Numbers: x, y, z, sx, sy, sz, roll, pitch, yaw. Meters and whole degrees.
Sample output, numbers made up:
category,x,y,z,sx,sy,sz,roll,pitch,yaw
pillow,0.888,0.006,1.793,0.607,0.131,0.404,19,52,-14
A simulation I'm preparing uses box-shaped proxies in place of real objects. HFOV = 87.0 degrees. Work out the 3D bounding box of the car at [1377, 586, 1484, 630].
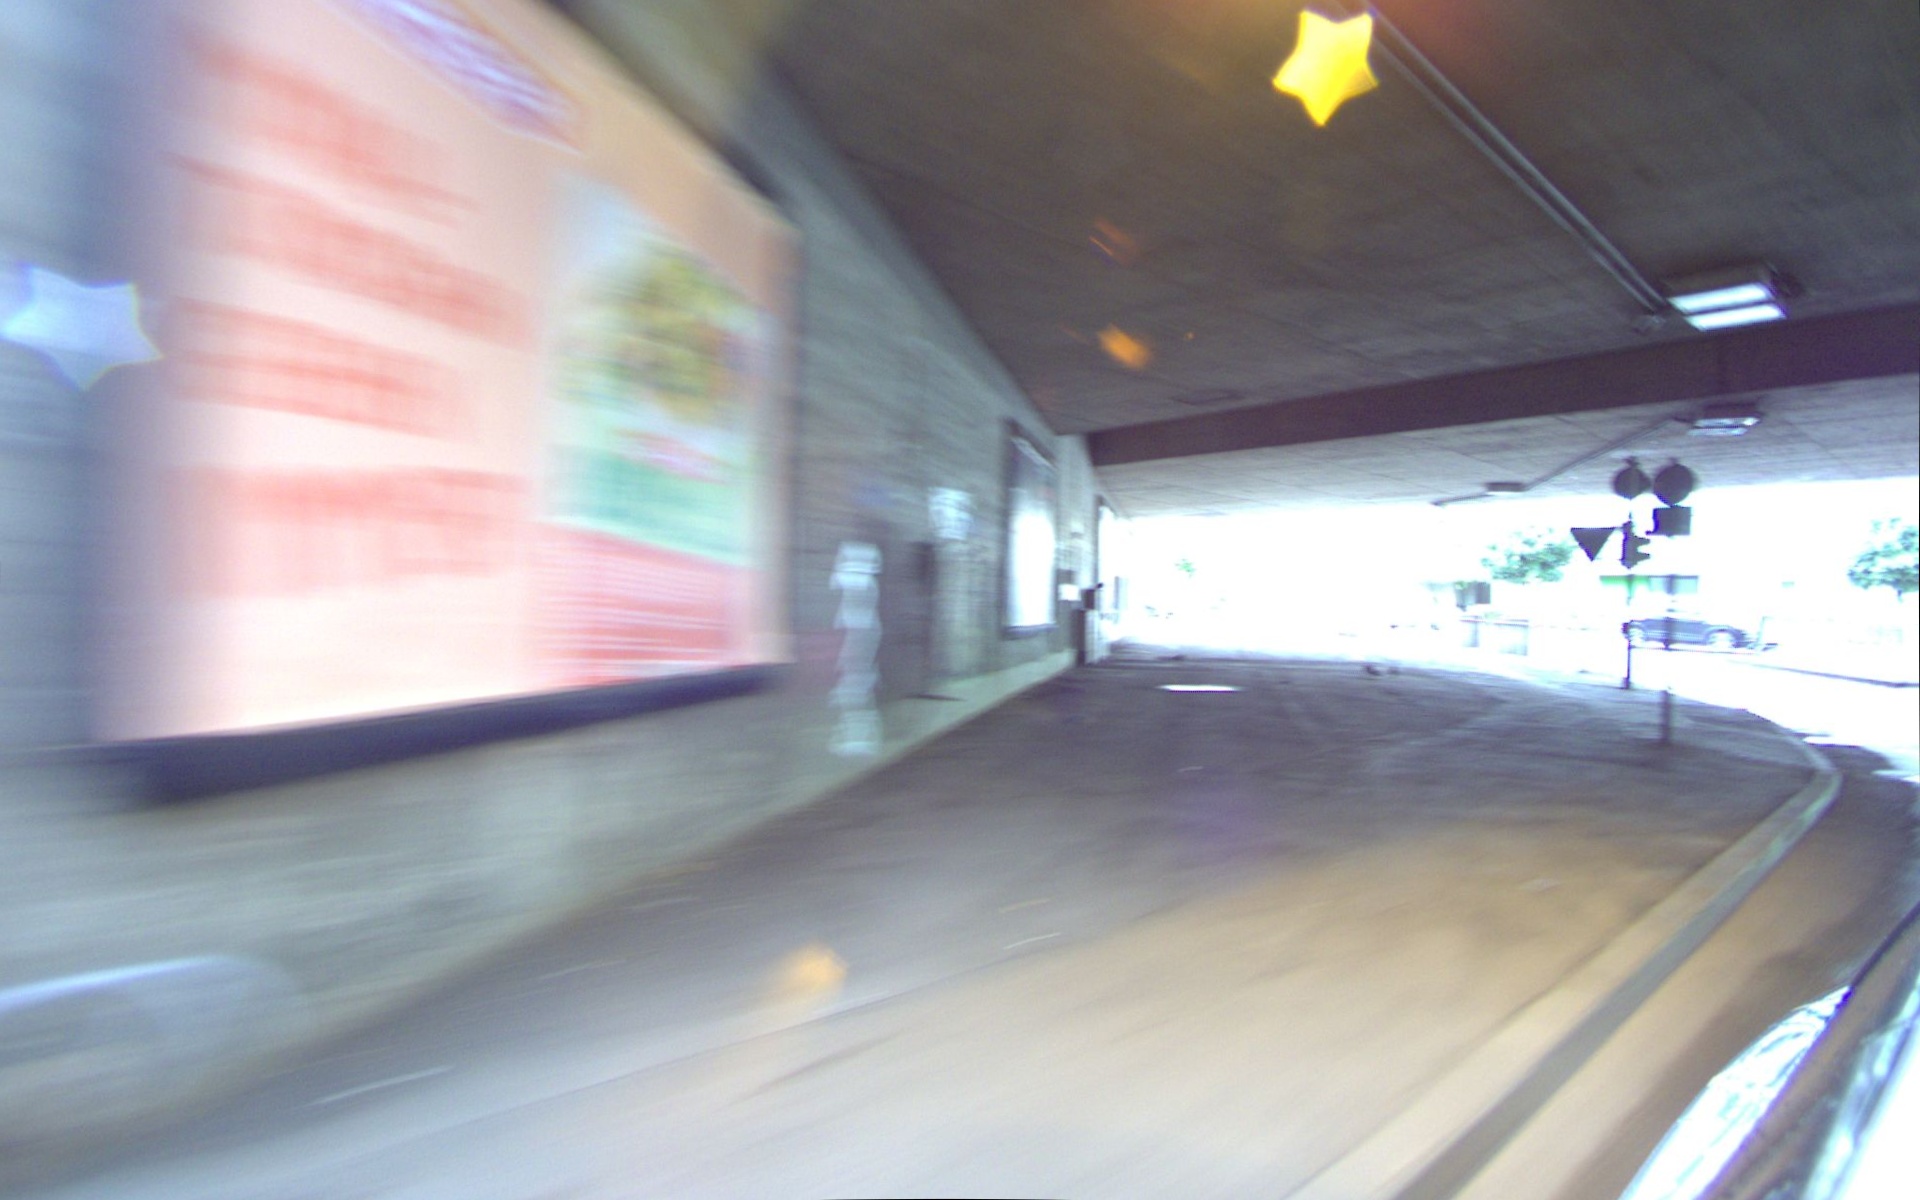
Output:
category,x,y,z,sx,sy,sz,roll,pitch,yaw
car,19.551,0.325,42.131,1.618,1.577,3.620,3,1,-44

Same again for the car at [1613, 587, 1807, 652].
category,x,y,z,sx,sy,sz,roll,pitch,yaw
car,21.569,0.491,29.336,1.732,1.599,4.244,0,2,-20
